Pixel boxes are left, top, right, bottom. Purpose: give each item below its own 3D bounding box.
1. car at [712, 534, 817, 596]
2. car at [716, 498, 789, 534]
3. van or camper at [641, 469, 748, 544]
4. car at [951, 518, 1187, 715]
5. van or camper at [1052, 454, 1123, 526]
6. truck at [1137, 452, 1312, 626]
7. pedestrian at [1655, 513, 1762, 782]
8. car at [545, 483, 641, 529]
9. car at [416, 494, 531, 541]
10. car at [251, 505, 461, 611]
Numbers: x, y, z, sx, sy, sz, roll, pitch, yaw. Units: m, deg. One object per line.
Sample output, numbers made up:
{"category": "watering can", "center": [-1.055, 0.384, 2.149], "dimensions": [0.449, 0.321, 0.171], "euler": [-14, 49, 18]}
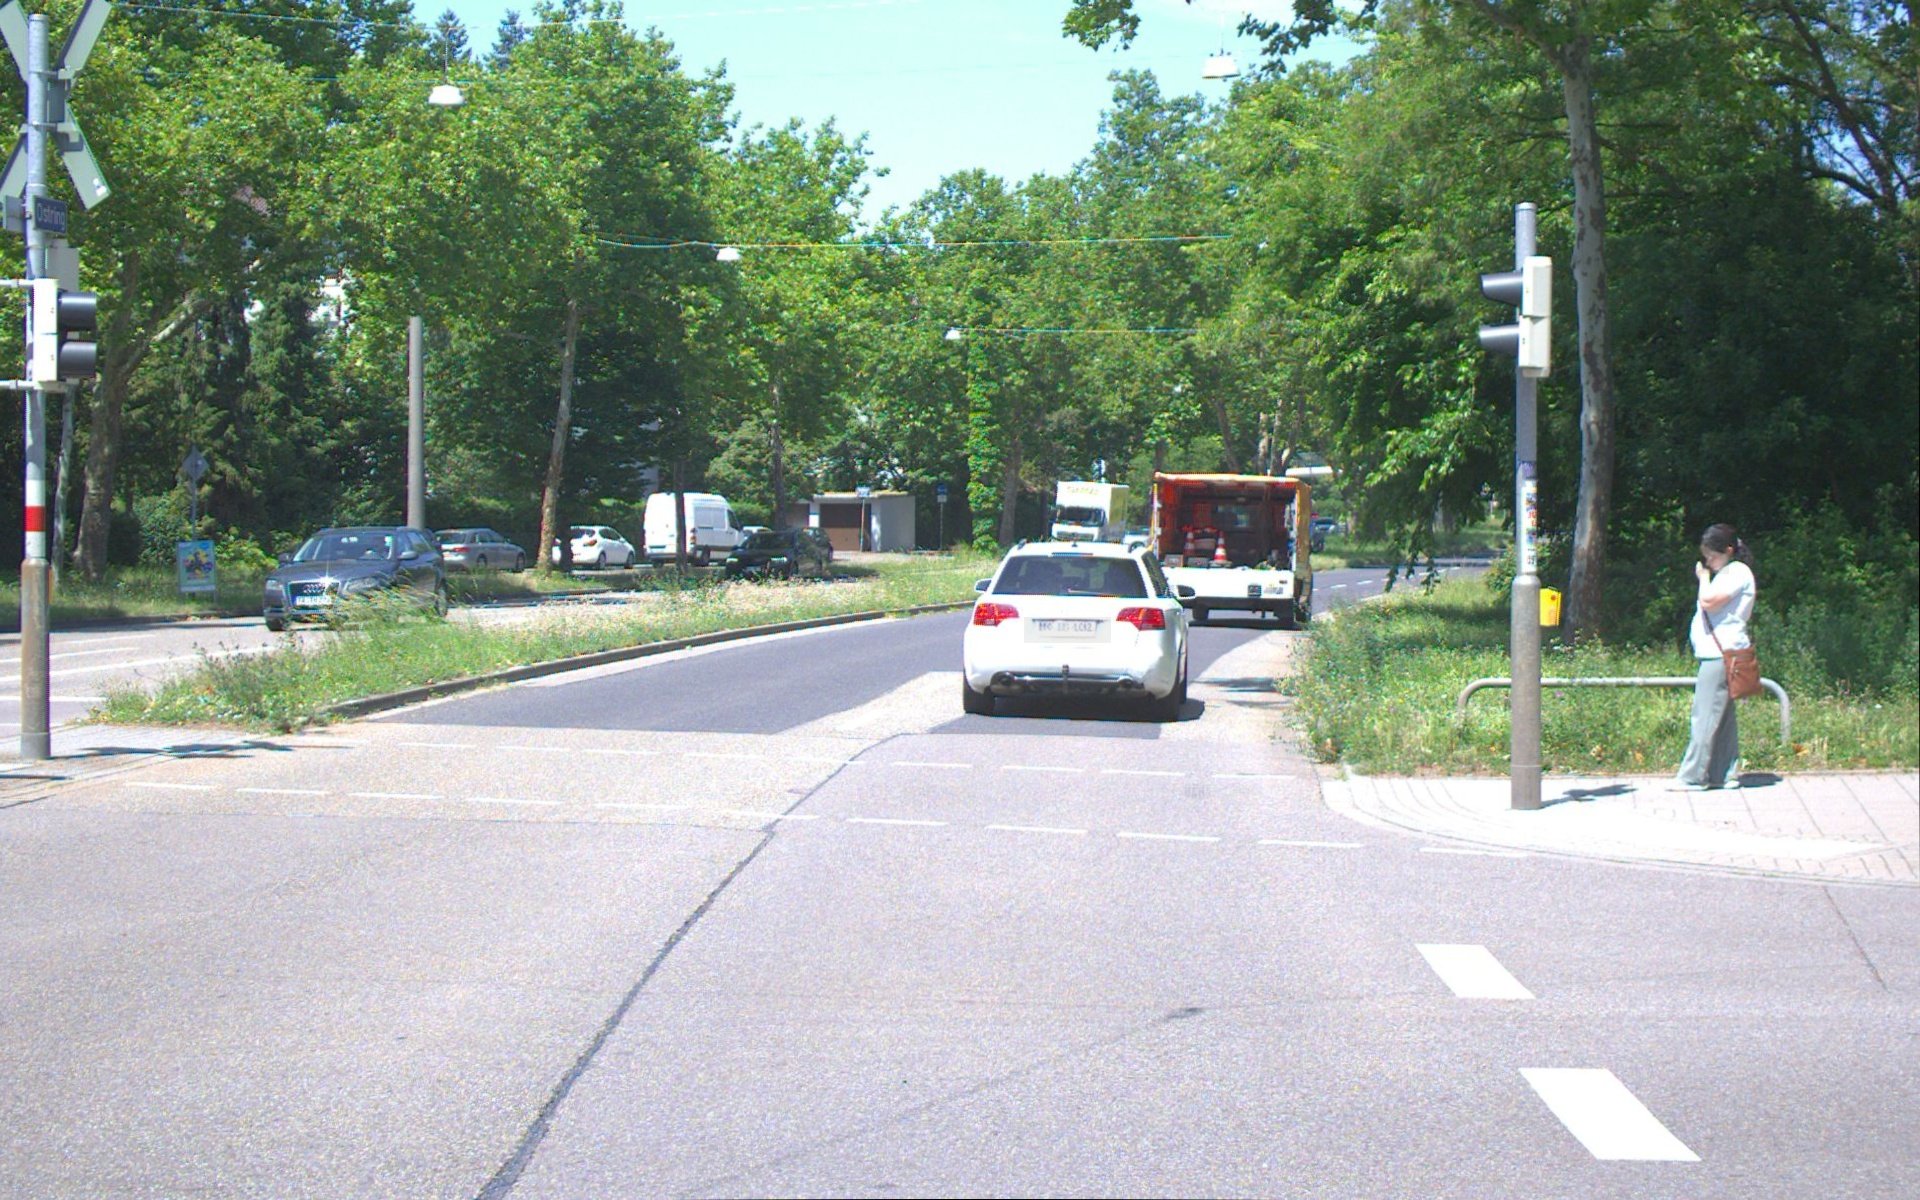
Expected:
{"category": "car", "center": [-5.124, -0.933, 90.645], "dimensions": [1.813, 1.501, 4.592], "euler": [1, 2, 9]}
{"category": "car", "center": [-7.775, -3.167, 128.885], "dimensions": [1.694, 1.279, 3.801], "euler": [1, 2, 13]}
{"category": "van or camper", "center": [-9.432, -3.365, 122.796], "dimensions": [2.184, 2.578, 5.306], "euler": [1, 2, 15]}
{"category": "car", "center": [0.970, 0.087, 28.726], "dimensions": [1.763, 1.440, 3.616], "euler": [3, 2, 4]}
{"category": "van or camper", "center": [6.006, -5.176, 161.484], "dimensions": [2.662, 3.319, 5.499], "euler": [1, 2, 9]}
{"category": "truck", "center": [4.441, -1.106, 56.465], "dimensions": [2.511, 2.550, 7.602], "euler": [2, 3, 6]}
{"category": "pedestrian", "center": [4.226, 0.255, 19.437], "dimensions": [0.553, 1.479, 0.629], "euler": [1, 2, 11]}
{"category": "car", "center": [-12.089, -3.103, 113.573], "dimensions": [1.883, 1.469, 3.998], "euler": [1, 2, 14]}
{"category": "car", "center": [-14.708, -2.513, 104.056], "dimensions": [1.883, 1.371, 3.997], "euler": [1, 2, 18]}
{"category": "car", "center": [-8.379, -0.619, 48.025], "dimensions": [1.736, 1.390, 4.177], "euler": [-1, 1, 7]}
